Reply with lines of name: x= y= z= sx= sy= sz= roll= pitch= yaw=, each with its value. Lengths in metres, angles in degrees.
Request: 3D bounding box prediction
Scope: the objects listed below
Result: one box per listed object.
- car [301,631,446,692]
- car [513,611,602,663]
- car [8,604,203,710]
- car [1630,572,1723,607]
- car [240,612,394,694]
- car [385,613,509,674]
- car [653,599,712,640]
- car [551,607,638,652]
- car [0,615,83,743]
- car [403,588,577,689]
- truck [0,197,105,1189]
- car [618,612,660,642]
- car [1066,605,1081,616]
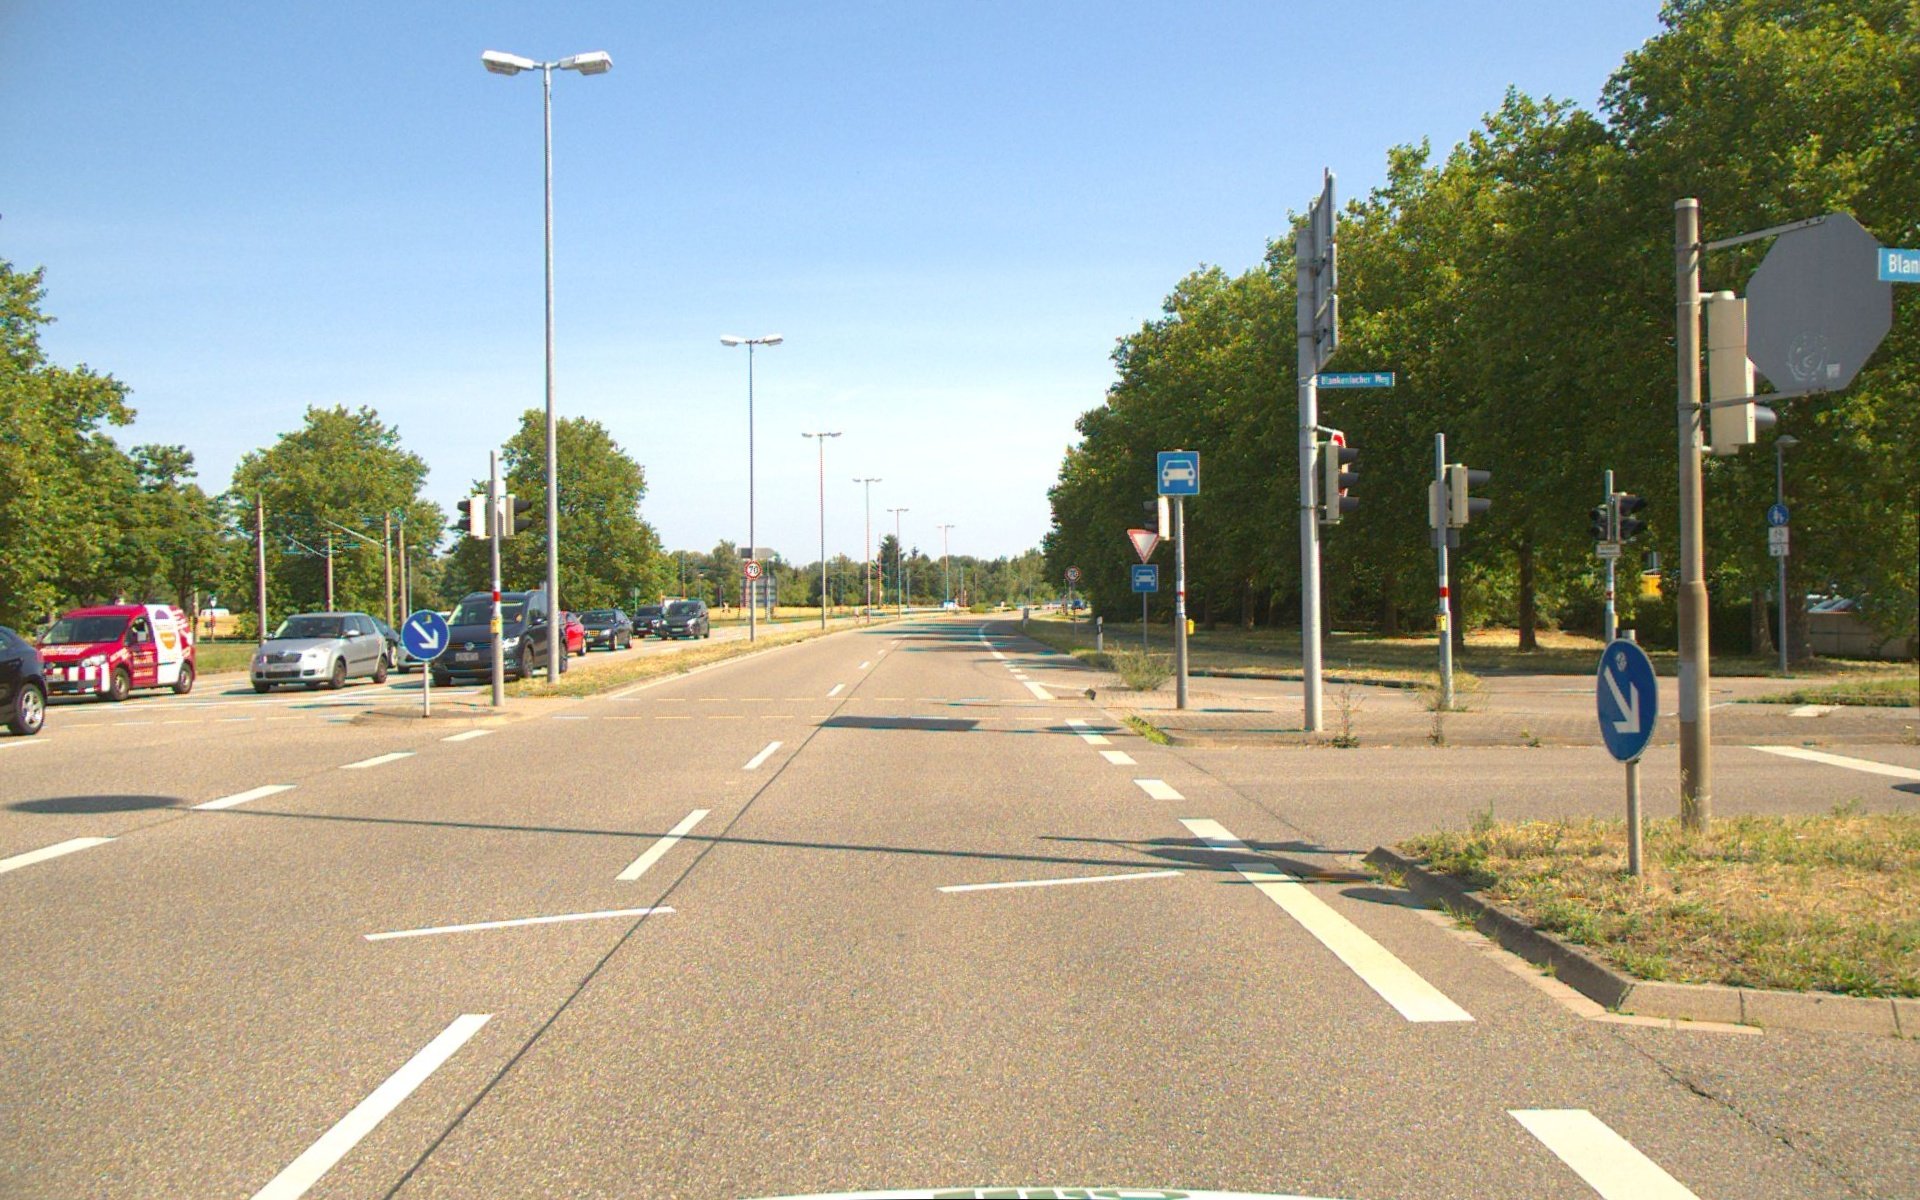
car: x=-16.485 y=1.683 z=46.856 sx=1.952 sy=1.500 sz=5.618 roll=-1 pitch=0 yaw=2
car: x=-12.487 y=1.125 z=51.525 sx=1.778 sy=1.511 sz=4.000 roll=-1 pitch=0 yaw=0
car: x=-15.964 y=1.008 z=31.153 sx=1.671 sy=1.800 sz=4.225 roll=-2 pitch=0 yaw=-4
car: x=35.522 y=-0.508 z=82.091 sx=3.902 sy=1.713 sz=2.002 roll=0 pitch=-1 yaw=12
car: x=-12.589 y=0.997 z=32.635 sx=1.586 sy=1.483 sz=3.870 roll=-1 pitch=0 yaw=-1
car: x=-12.799 y=1.056 z=41.490 sx=1.791 sy=1.410 sz=3.844 roll=-1 pitch=0 yaw=1
car: x=-12.883 y=0.882 z=76.969 sx=1.940 sy=1.810 sz=4.489 roll=-1 pitch=0 yaw=0
car: x=-12.736 y=1.009 z=57.879 sx=1.940 sy=1.483 sz=4.451 roll=-1 pitch=0 yaw=1
car: x=-12.141 y=0.942 z=18.798 sx=1.940 sy=1.483 sz=4.333 roll=-1 pitch=0 yaw=1
car: x=-8.949 y=0.703 z=31.895 sx=1.940 sy=1.781 sz=4.508 roll=-1 pitch=0 yaw=1
truck: x=-3.399 y=0.223 z=1.704 sx=2.069 sy=2.500 sz=5.915 roll=0 pitch=0 yaw=-1
car: x=-16.895 y=1.401 z=87.287 sx=1.944 sy=1.483 sz=4.221 roll=-1 pitch=0 yaw=-8
car: x=17.060 y=1.581 z=248.995 sx=1.939 sy=1.483 sz=4.121 roll=-2 pitch=0 yaw=9
